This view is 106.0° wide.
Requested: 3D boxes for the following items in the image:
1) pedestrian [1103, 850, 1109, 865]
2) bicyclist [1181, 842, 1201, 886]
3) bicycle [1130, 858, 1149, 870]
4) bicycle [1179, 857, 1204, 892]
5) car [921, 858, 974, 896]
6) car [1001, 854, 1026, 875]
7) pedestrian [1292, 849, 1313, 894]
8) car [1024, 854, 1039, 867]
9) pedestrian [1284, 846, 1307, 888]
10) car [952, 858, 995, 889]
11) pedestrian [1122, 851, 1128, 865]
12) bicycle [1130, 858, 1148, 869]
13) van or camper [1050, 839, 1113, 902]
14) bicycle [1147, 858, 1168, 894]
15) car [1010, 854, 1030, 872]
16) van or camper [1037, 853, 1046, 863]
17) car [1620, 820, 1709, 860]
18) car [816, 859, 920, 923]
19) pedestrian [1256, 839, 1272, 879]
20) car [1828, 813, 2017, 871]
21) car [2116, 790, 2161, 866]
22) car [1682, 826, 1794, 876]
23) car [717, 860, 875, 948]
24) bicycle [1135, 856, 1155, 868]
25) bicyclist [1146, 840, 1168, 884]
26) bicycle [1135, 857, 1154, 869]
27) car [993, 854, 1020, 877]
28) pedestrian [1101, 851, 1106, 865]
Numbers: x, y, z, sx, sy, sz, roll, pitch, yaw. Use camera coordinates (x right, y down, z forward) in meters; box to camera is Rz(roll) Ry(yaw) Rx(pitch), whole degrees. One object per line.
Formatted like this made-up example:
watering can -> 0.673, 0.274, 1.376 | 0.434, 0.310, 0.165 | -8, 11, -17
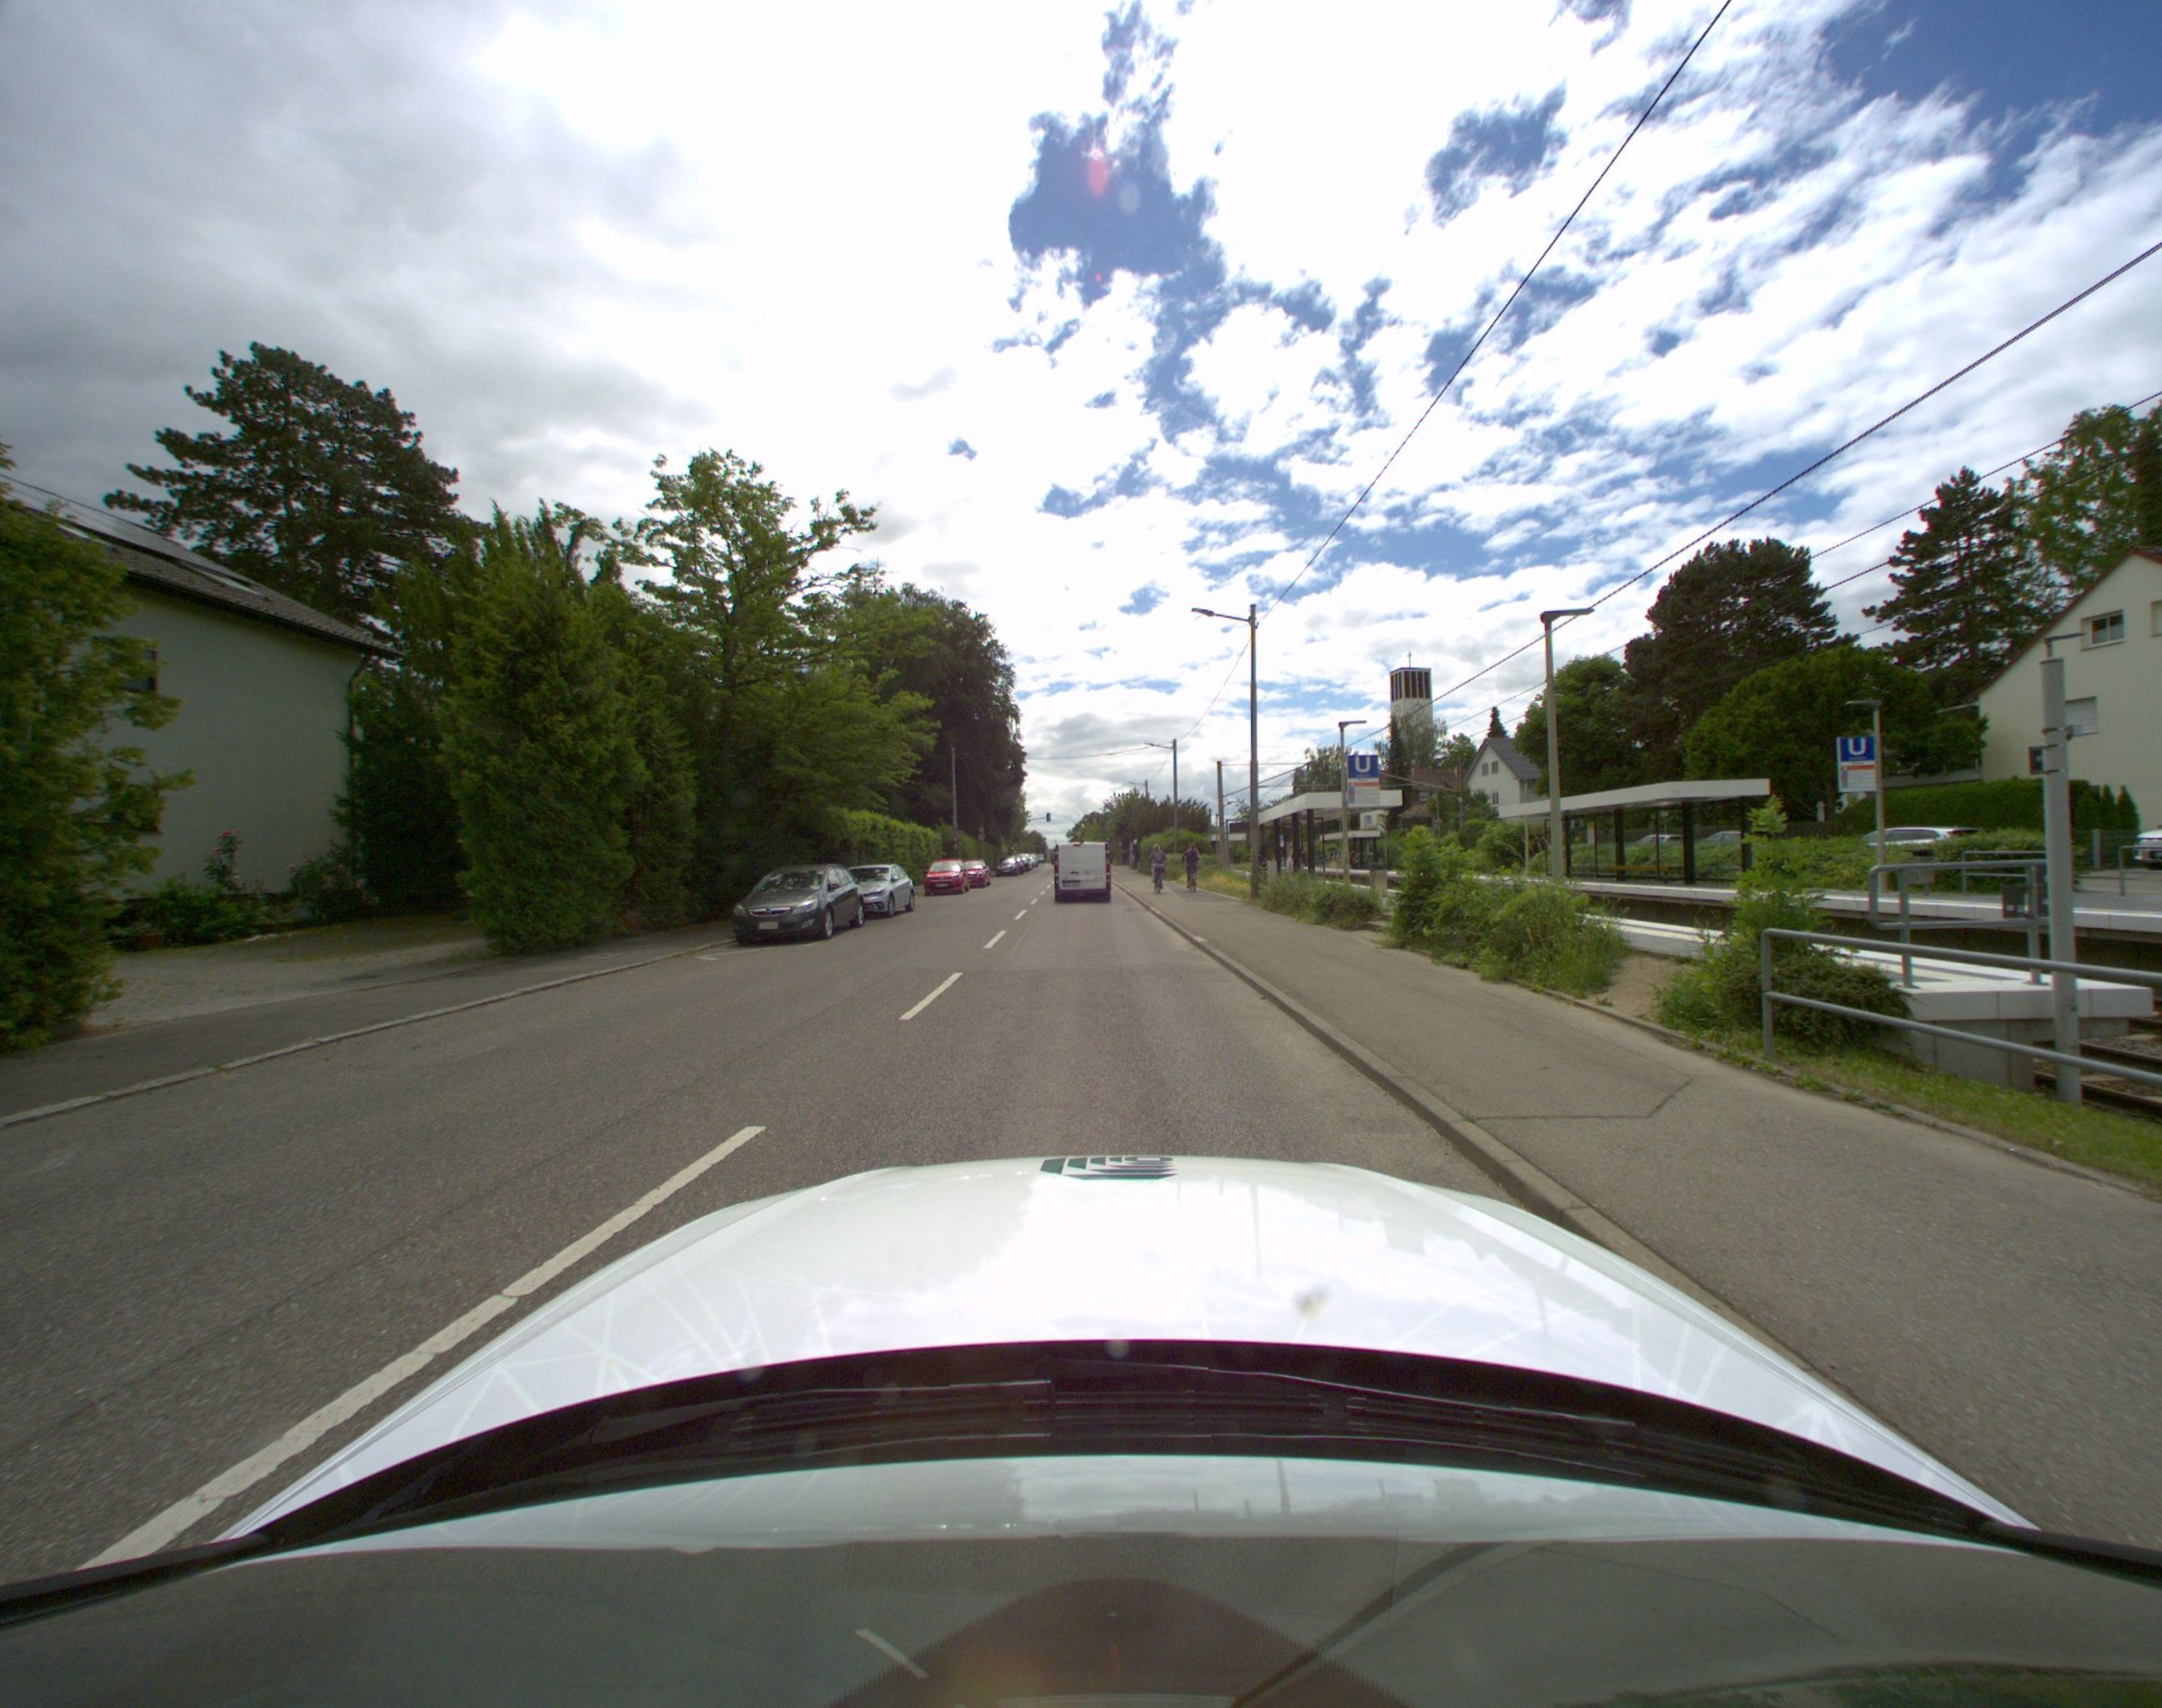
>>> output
pedestrian -> 2.998, 0.390, 97.677 | 0.677, 1.841, 0.647 | -1, 0, 6
bicyclist -> 4.206, 0.373, 31.141 | 0.637, 1.649, 0.819 | -1, 0, -1
bicycle -> 5.486, 0.928, 76.507 | 1.694, 1.030, 0.491 | -1, 0, -2
bicycle -> 4.225, 0.756, 31.281 | 0.616, 1.246, 2.395 | -1, 0, 0
car -> -5.769, 0.967, 35.456 | 1.583, 1.505, 3.515 | -3, 0, 1
car -> -5.751, 0.875, 69.783 | 1.757, 1.656, 4.059 | -2, 0, -1
pedestrian -> 6.842, 0.535, 25.128 | 0.486, 1.344, 0.394 | -1, 0, -12
car -> -6.472, 0.798, 106.190 | 1.757, 1.557, 3.813 | -2, 0, -1
pedestrian -> 7.180, 0.430, 27.239 | 0.580, 1.380, 0.740 | -1, 0, 1
car -> -5.544, 0.965, 42.424 | 1.757, 1.471, 4.183 | -2, 0, -1
pedestrian -> 5.318, 0.485, 98.683 | 0.671, 1.696, 0.522 | -1, 0, 4
bicycle -> 5.477, 0.930, 77.047 | 1.694, 1.030, 0.491 | -1, 0, -2
van or camper -> 0.045, 0.540, 28.027 | 1.987, 2.014, 4.445 | 0, -1, 0
bicycle -> 2.795, 0.776, 29.835 | 0.544, 1.246, 2.055 | -1, 0, 0
car -> -5.994, 0.881, 80.118 | 1.757, 1.656, 3.813 | -2, 0, -1
van or camper -> -9.628, 0.960, 199.743 | 2.001, 2.261, 4.604 | -2, 0, -5
car -> 27.290, -0.630, 38.254 | 1.723, 1.751, 3.942 | -1, 0, 7
car -> -5.811, 0.944, 22.710 | 1.730, 1.505, 3.964 | -3, 0, 1
pedestrian -> 8.021, 0.231, 35.625 | 0.633, 1.725, 0.658 | -1, 0, 16
car -> 26.064, -0.355, 25.440 | 1.770, 1.662, 3.999 | -1, 0, 0
car -> 30.089, -0.807, 21.106 | 4.315, 1.943, 1.746 | -4, 0, -1
car -> 26.744, -0.094, 33.326 | 1.724, 1.914, 3.940 | 0, -1, 6
car -> -5.806, 0.935, 17.212 | 1.732, 1.505, 4.475 | -3, 0, -1
bicycle -> 5.804, 0.749, 73.954 | 1.694, 1.030, 0.491 | -1, 0, -2
bicyclist -> 2.783, 0.286, 29.829 | 0.715, 1.612, 0.757 | -1, 0, -1
bicycle -> 5.801, 0.814, 74.510 | 1.694, 1.030, 0.491 | -1, 0, -2
car -> -5.815, 0.857, 63.802 | 1.757, 1.625, 4.183 | -2, 0, -1
pedestrian -> 3.139, 0.562, 114.948 | 0.700, 1.851, 0.666 | -1, 0, 0
